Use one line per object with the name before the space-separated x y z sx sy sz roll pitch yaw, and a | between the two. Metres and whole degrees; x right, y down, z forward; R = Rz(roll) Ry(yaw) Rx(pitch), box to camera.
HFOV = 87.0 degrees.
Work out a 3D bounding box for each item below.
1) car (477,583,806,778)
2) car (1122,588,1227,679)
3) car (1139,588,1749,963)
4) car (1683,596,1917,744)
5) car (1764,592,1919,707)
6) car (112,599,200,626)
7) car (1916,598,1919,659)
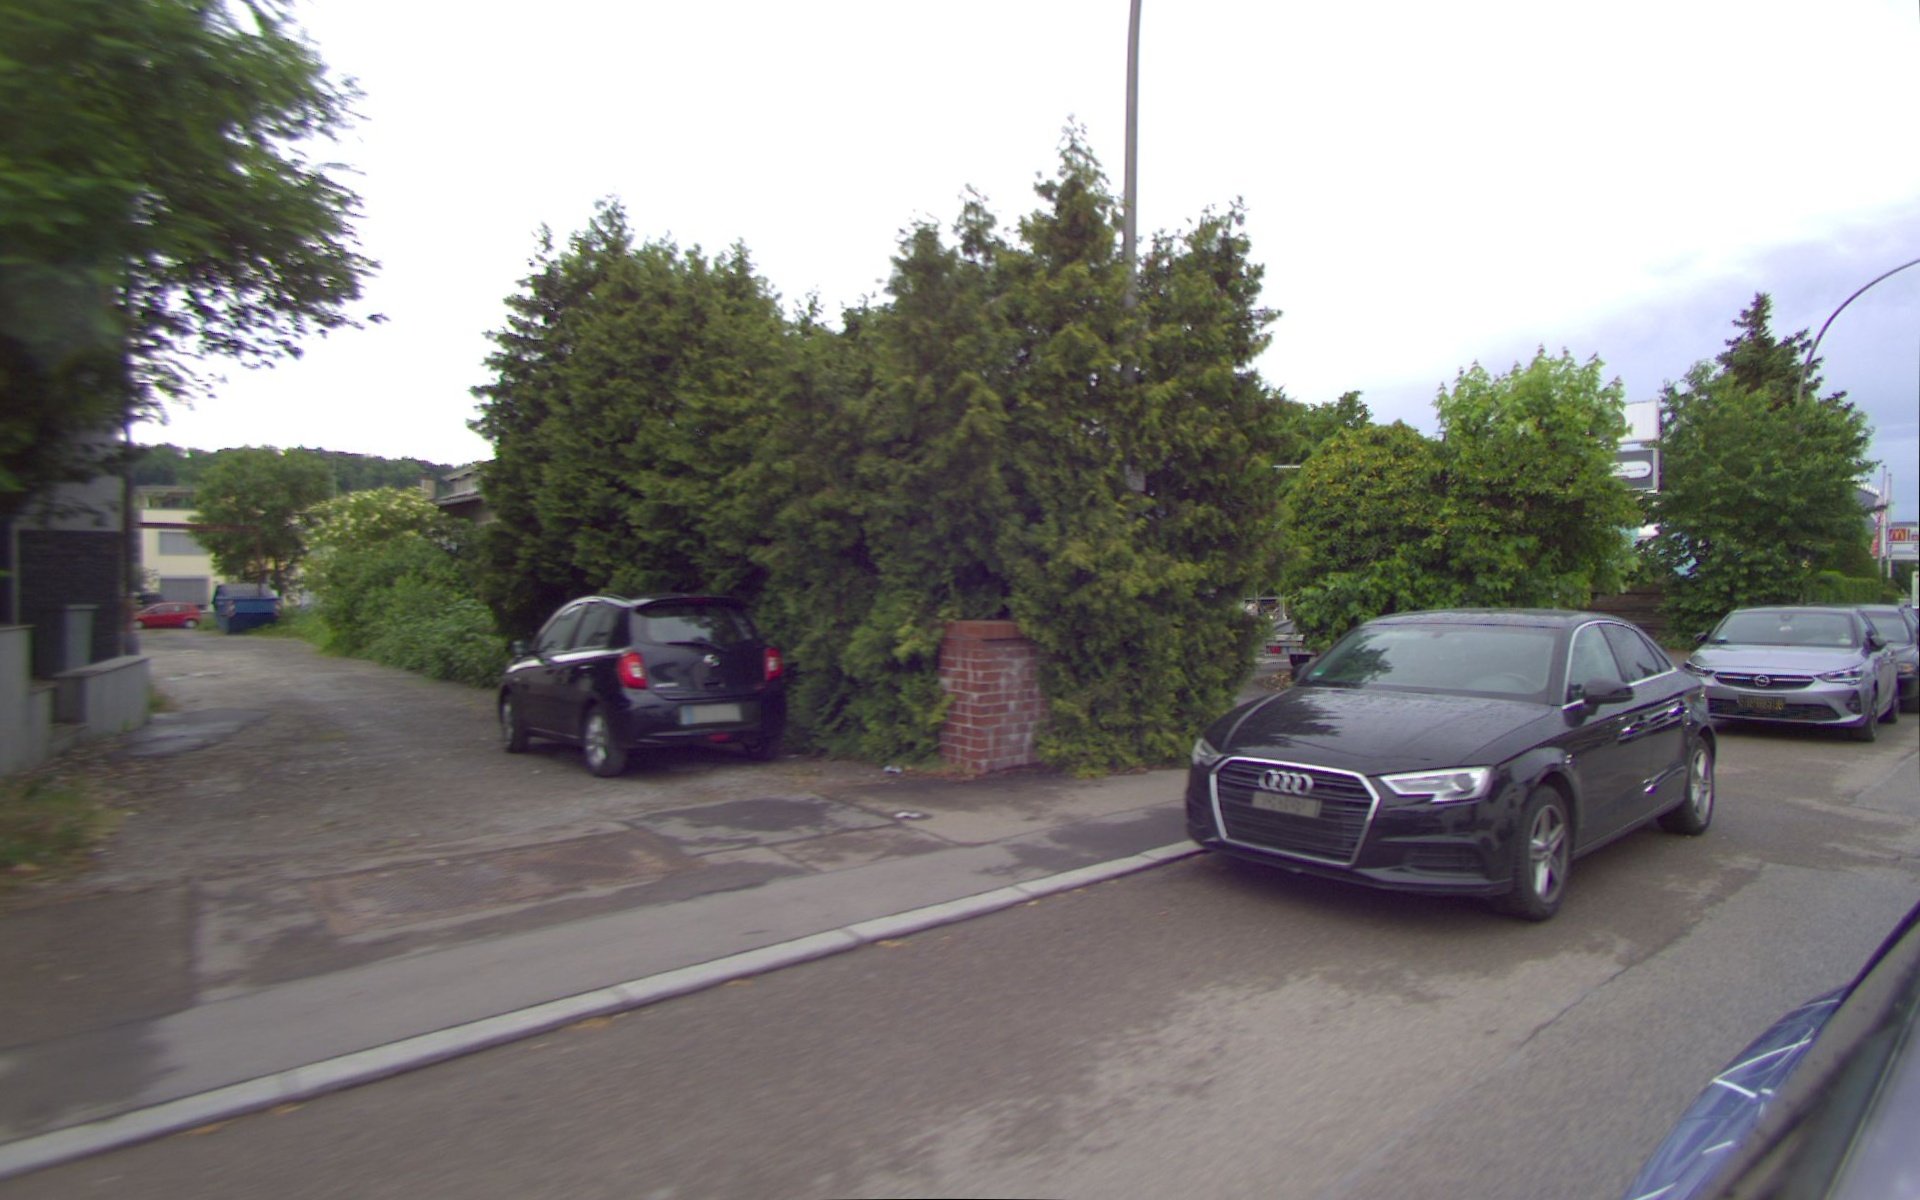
car | -3.210 0.664 9.650 1.670 1.448 3.995 0 -2 -39
car | 3.714 0.488 17.668 1.580 1.386 3.757 1 1 11
car | 3.038 0.680 5.948 4.038 1.436 1.755 0 1 -41
car | 10.083 0.692 12.049 3.975 1.458 1.654 0 1 -43
car | 13.610 0.634 15.127 4.407 1.458 1.765 0 1 -42
car | -47.972 0.710 60.436 1.994 1.549 3.935 0 0 45
car | 25.460 0.695 25.454 3.625 1.483 1.675 0 -1 -41
